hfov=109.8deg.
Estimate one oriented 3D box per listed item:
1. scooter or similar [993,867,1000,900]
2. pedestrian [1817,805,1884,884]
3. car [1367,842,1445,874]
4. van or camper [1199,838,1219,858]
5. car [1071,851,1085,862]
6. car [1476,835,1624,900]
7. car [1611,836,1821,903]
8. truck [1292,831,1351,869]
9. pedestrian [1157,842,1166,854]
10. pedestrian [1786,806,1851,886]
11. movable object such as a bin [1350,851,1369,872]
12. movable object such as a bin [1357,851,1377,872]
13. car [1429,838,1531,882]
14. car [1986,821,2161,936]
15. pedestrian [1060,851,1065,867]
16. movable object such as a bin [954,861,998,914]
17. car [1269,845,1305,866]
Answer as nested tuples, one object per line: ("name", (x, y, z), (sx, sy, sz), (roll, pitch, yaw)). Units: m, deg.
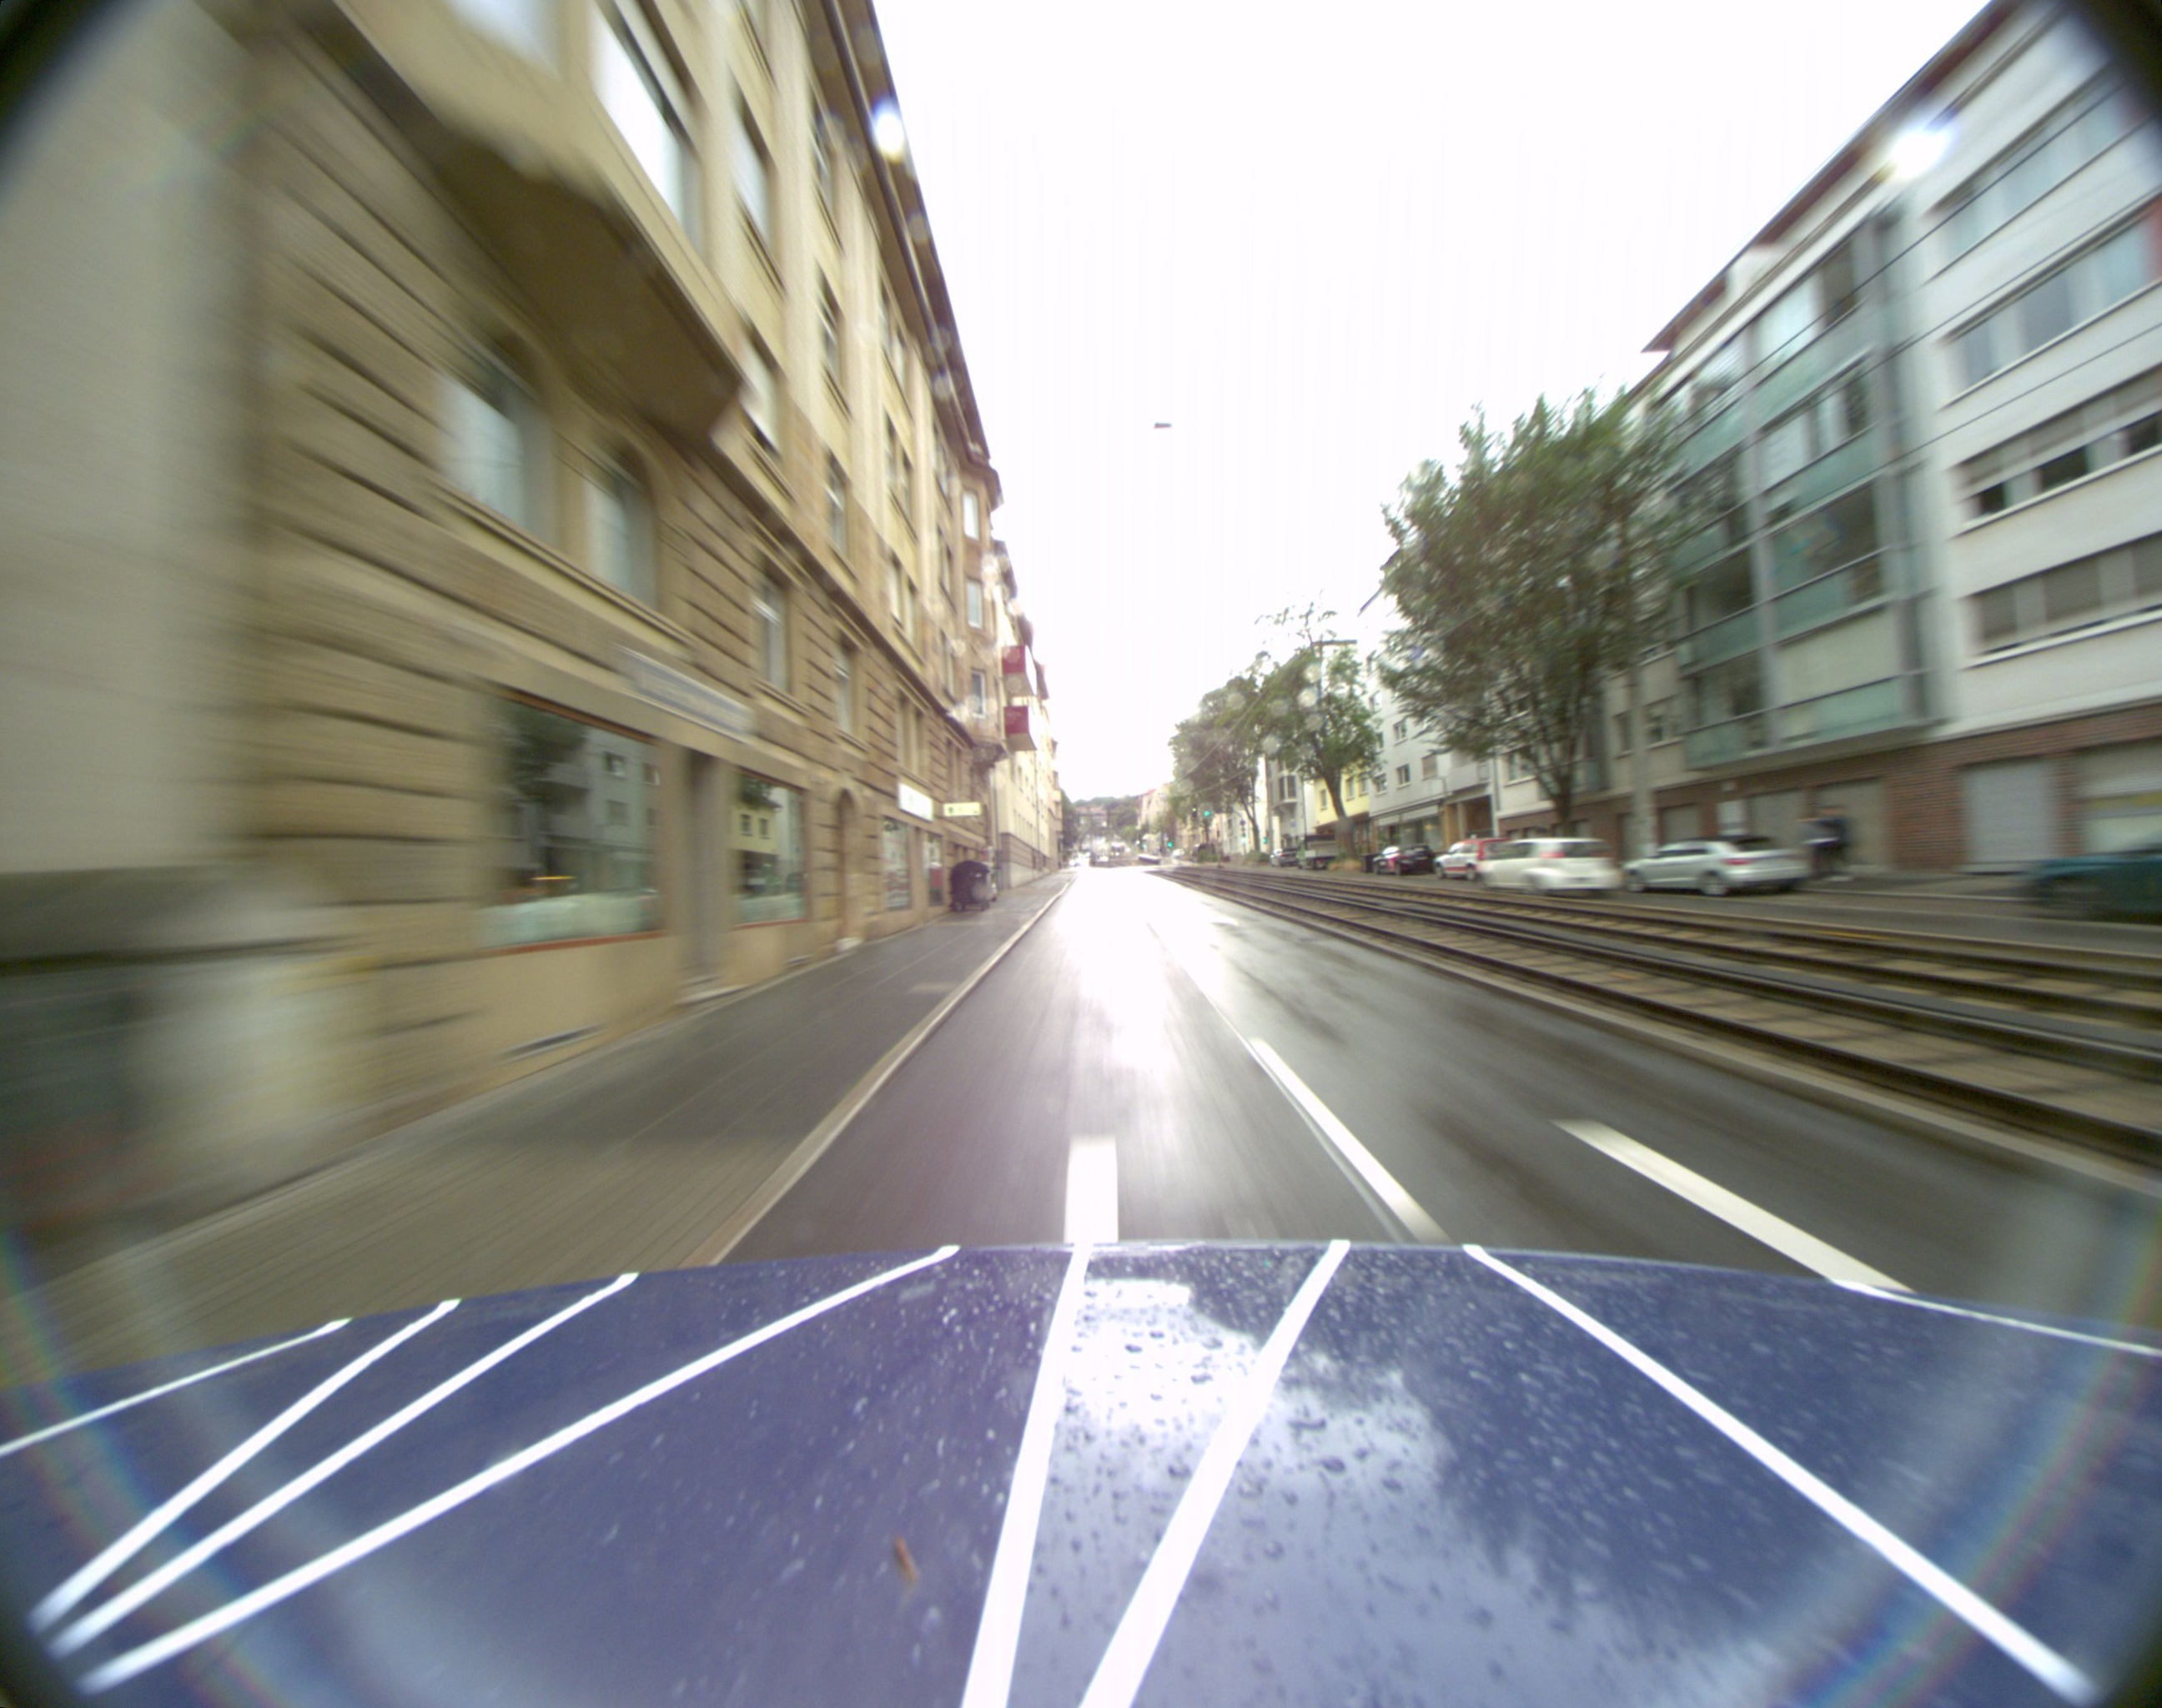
("scooter or similar", (-2.960, 1.023, 26.636), (0.210, 1.105, 0.890), (-1, 2, -8))
("pedestrian", (17.739, -0.211, 17.531), (0.675, 1.762, 0.782), (-3, 1, 2))
("car", (15.785, 0.179, 37.157), (1.911, 1.431, 4.469), (-3, 0, 0))
("van or camper", (18.407, -0.851, 109.633), (1.998, 2.781, 5.213), (-3, 0, 1))
("car", (-0.482, 0.337, 116.241), (1.998, 1.652, 4.000), (-3, 0, 0))
("car", (12.061, 0.324, 19.827), (1.631, 1.473, 3.581), (-3, 0, 1))
("car", (15.298, 0.337, 18.653), (1.706, 1.328, 4.130), (-5, 0, 2))
("truck", (16.120, -0.312, 51.327), (2.197, 2.332, 6.352), (-2, 1, 3))
("pedestrian", (12.157, -0.843, 114.515), (1.120, 1.772, 0.965), (-2, 1, 1))
("pedestrian", (17.028, -0.185, 17.555), (0.675, 1.762, 0.782), (-3, 1, 2))
("movable object such as a bin", (15.203, 0.409, 41.437), (0.727, 1.115, 0.671), (-2, 0, -4))
("movable object such as a bin", (15.334, 0.411, 40.740), (0.727, 1.115, 0.671), (-2, 0, -4))
("car", (15.587, 0.219, 29.947), (1.781, 1.560, 4.158), (-3, 0, 0))
("car", (15.043, 0.293, 9.629), (1.805, 1.446, 4.431), (-4, 0, 1))
("pedestrian", (-2.238, 0.629, 93.440), (0.547, 1.904, 0.604), (-2, 0, -1))
("movable object such as a bin", (-3.025, 0.947, 22.042), (1.011, 1.443, 1.393), (0, 0, 2))
("car", (16.544, 0.112, 61.297), (1.708, 1.451, 4.360), (-4, 0, 2))
